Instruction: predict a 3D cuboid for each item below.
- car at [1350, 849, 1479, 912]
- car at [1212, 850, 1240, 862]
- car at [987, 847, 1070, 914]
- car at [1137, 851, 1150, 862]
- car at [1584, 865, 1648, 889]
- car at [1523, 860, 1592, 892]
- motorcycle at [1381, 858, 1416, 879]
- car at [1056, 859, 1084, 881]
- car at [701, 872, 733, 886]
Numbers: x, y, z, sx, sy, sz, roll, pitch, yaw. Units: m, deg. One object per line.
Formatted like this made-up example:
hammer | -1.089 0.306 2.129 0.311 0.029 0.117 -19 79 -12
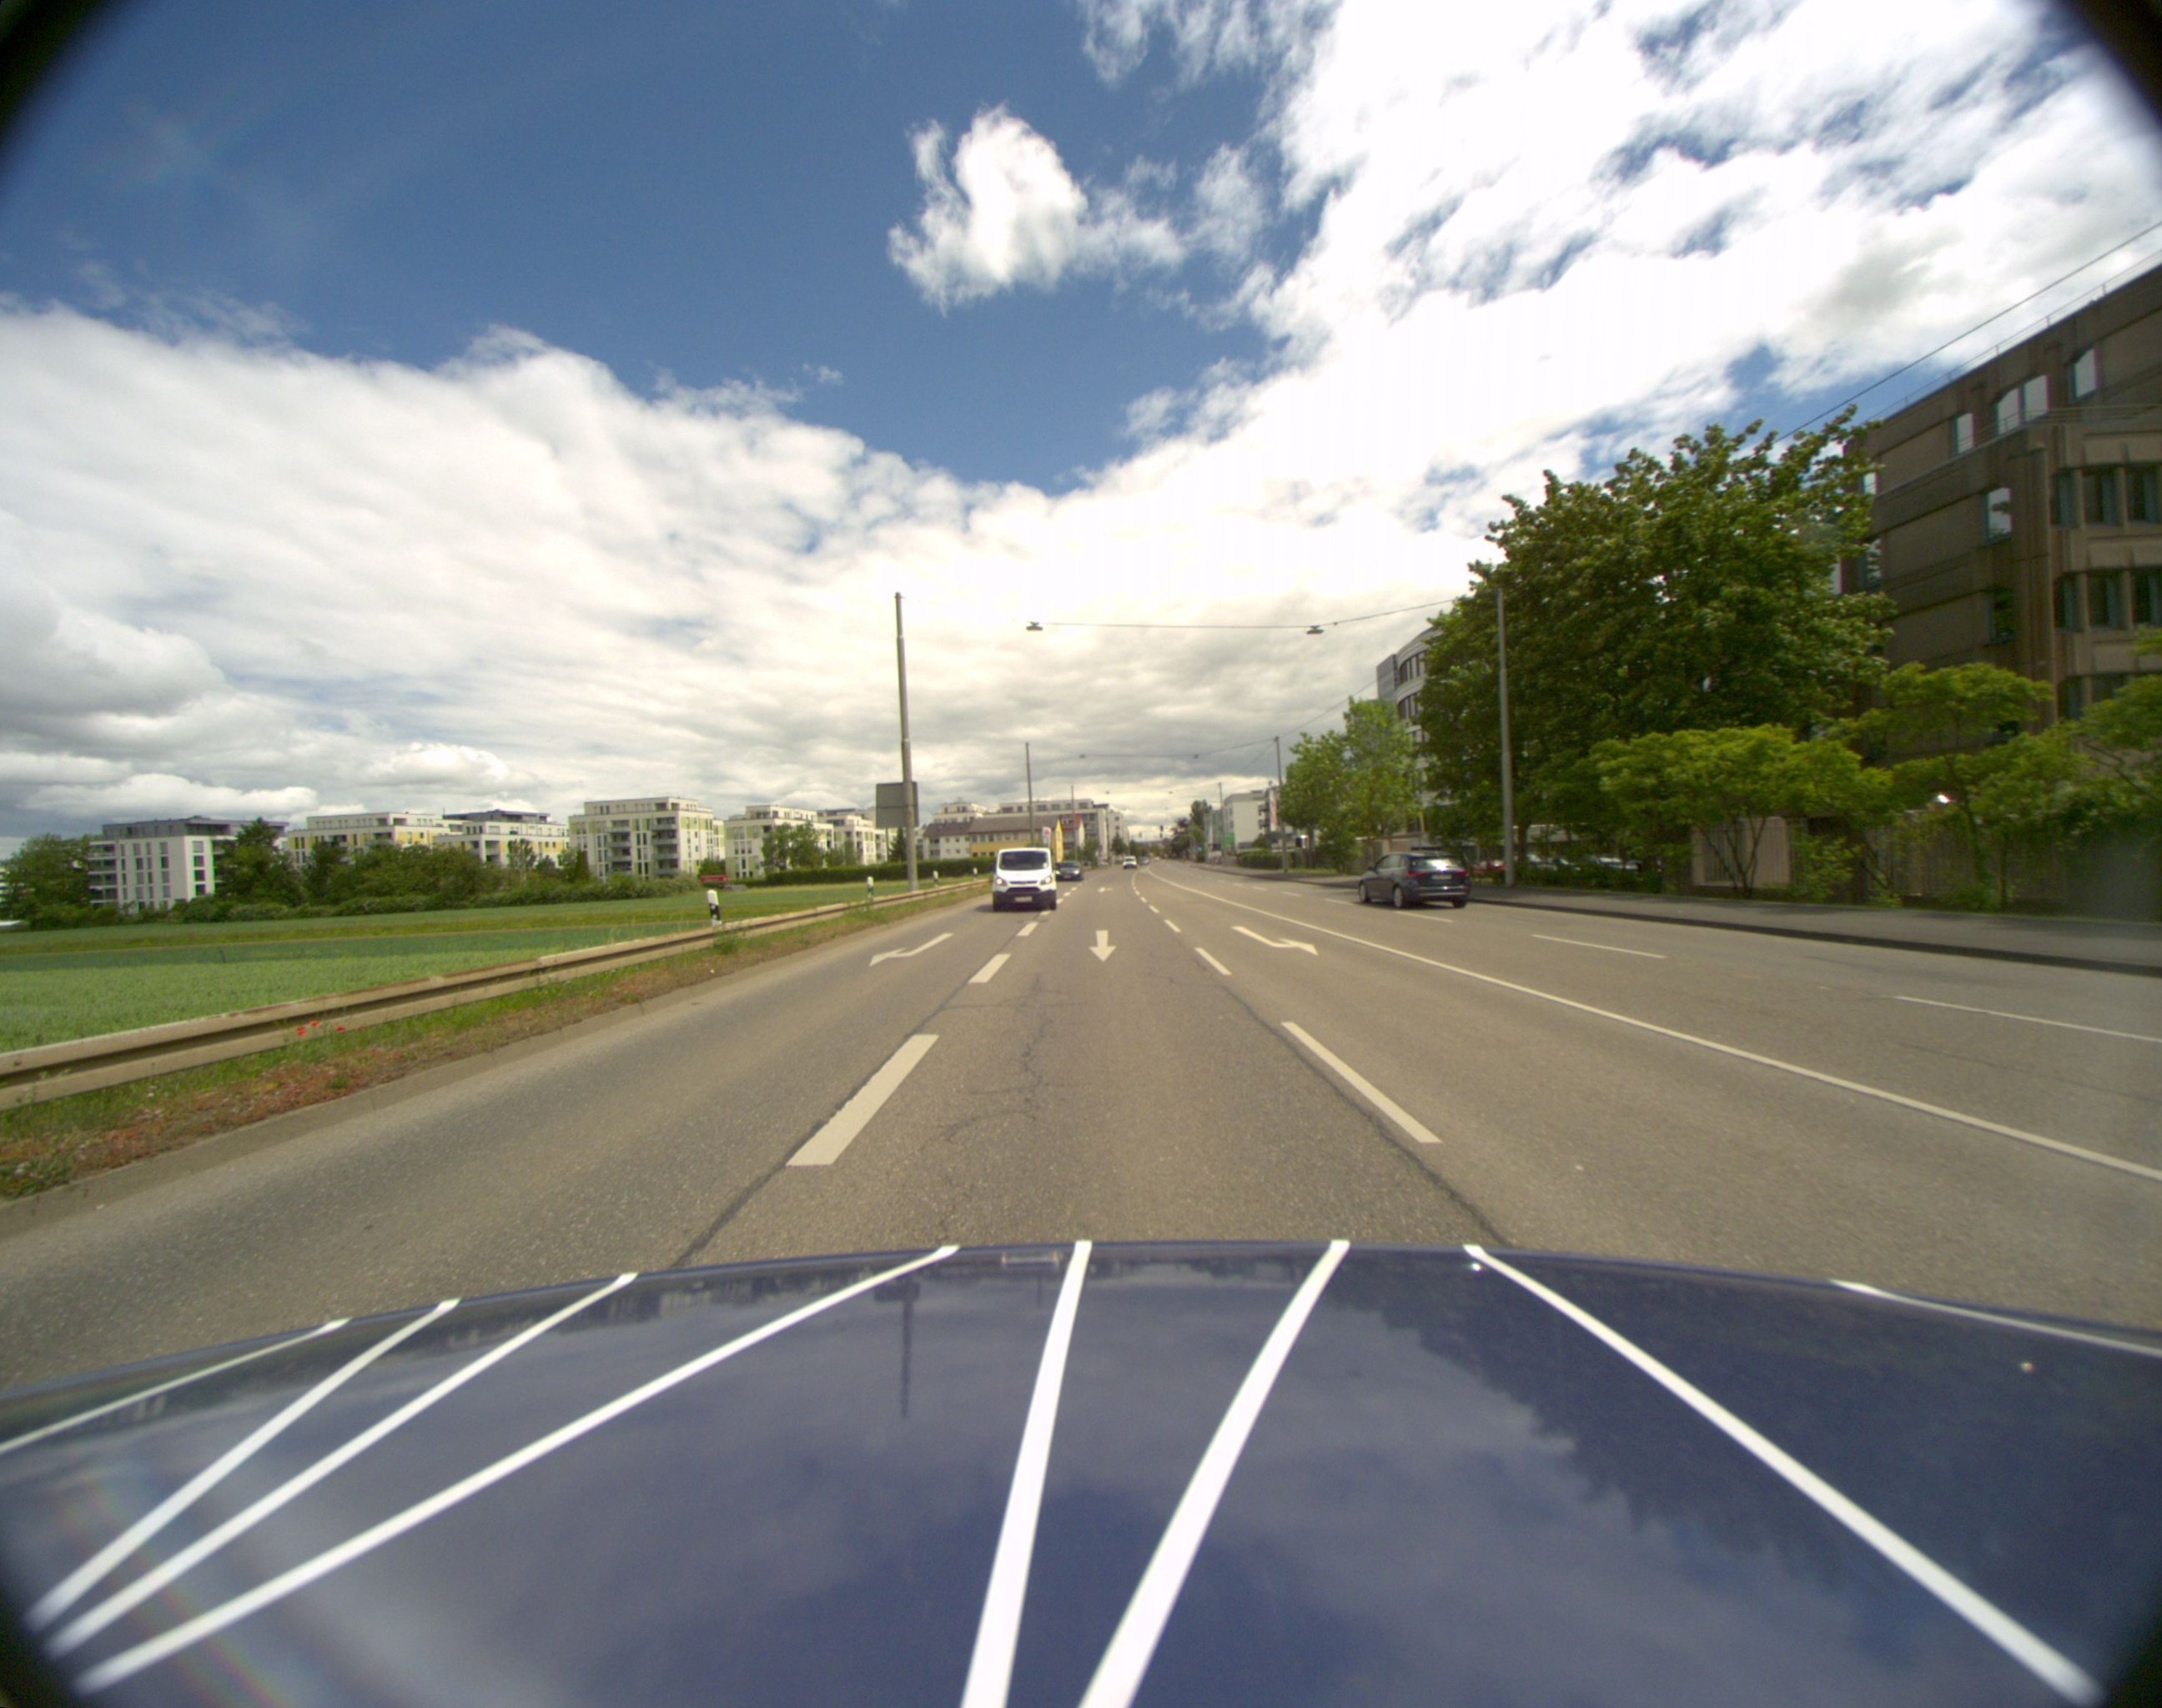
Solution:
car | 9.346 0.673 21.712 1.801 1.576 4.313 -1 0 0
car | 21.899 0.287 114.803 3.801 1.601 1.836 -2 0 1
car | -1.606 0.786 25.459 1.998 1.906 5.883 -2 0 3
car | 11.872 0.437 144.400 1.999 2.002 3.999 -2 1 -1
car | 35.342 1.481 50.320 1.525 1.368 4.000 -2 1 2
car | 31.615 1.426 50.532 1.868 1.784 3.997 2 3 -3
motorcycle | 20.587 0.930 49.301 1.905 1.237 0.746 -2 1 0
car | -0.747 1.134 55.247 1.879 1.478 3.775 -3 0 1
car | -61.525 4.210 128.433 4.437 2.002 2.000 -2 1 1
